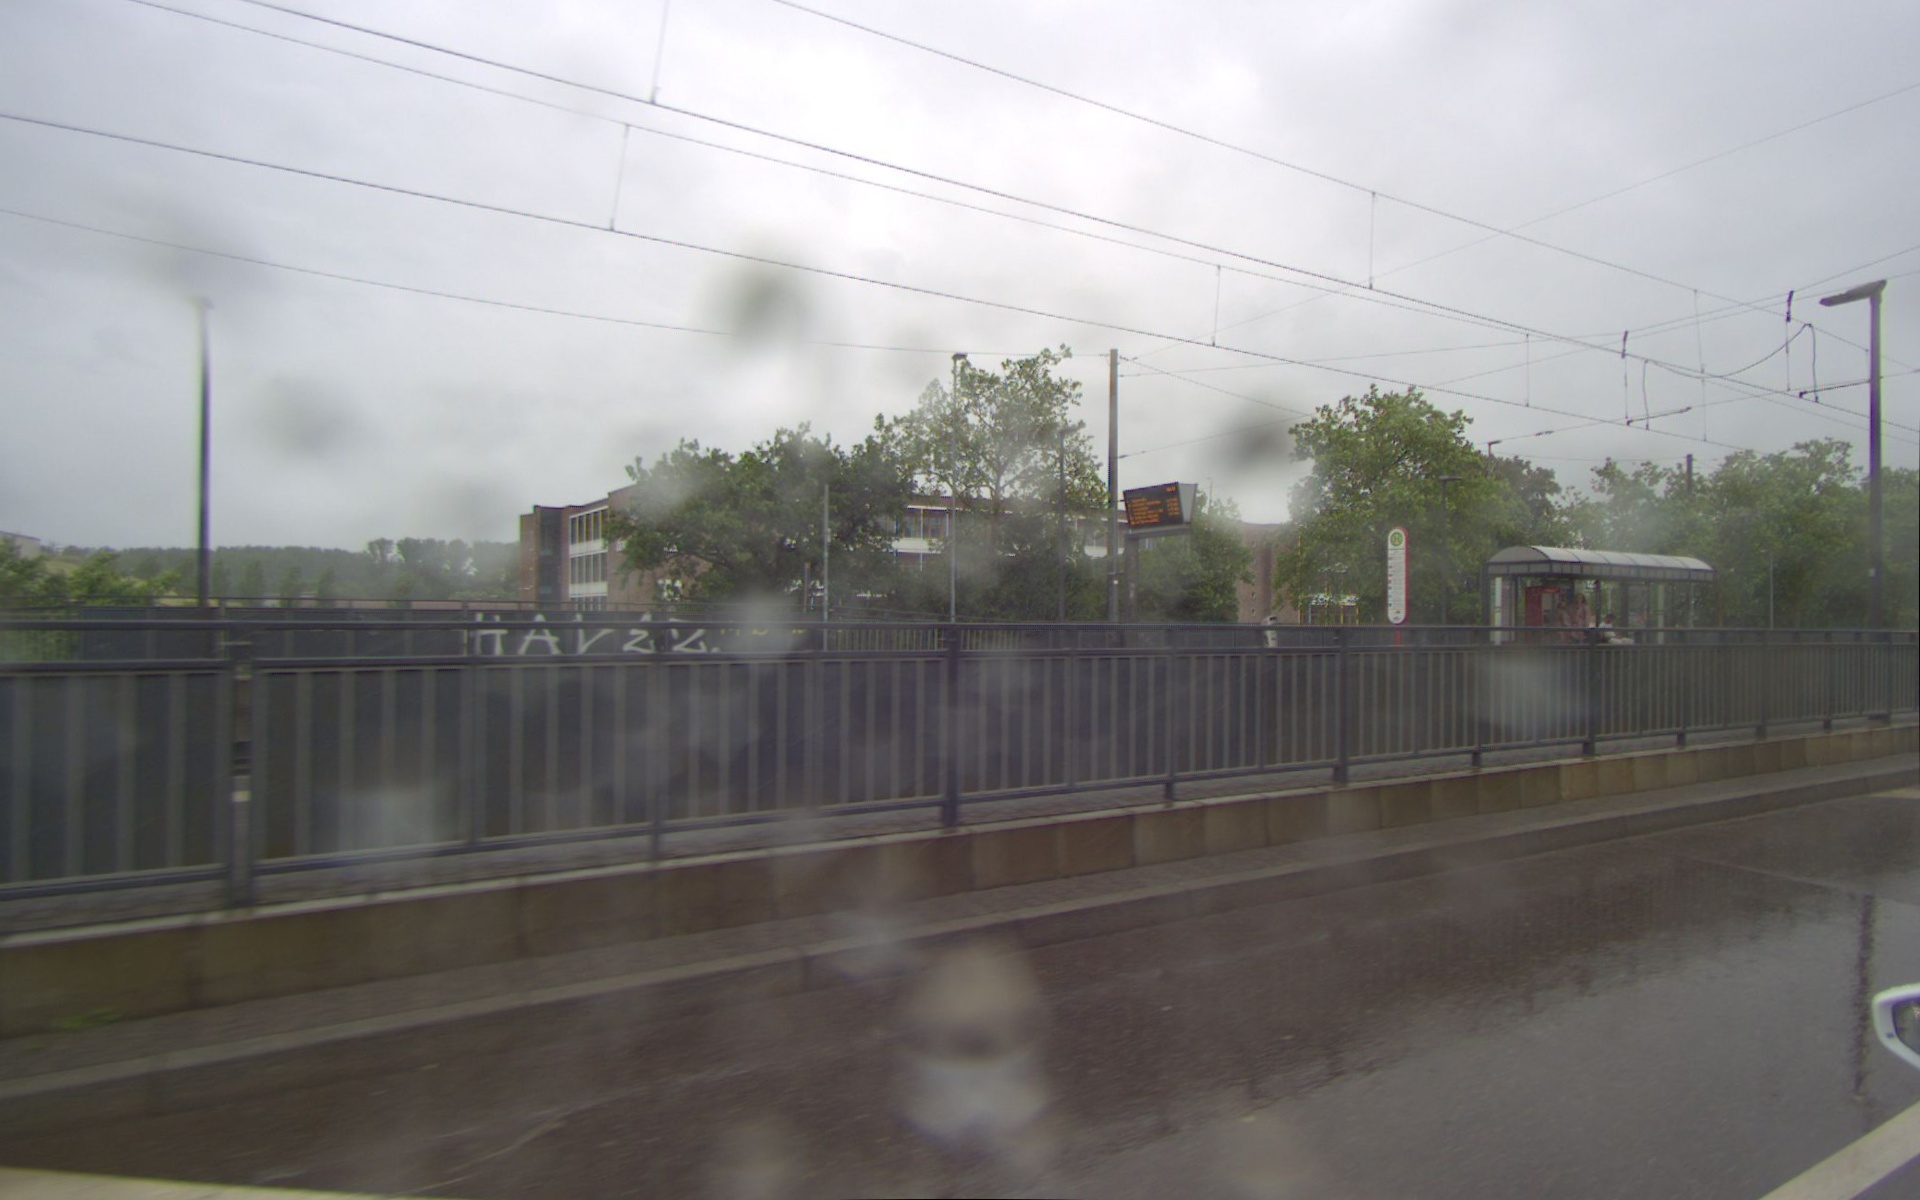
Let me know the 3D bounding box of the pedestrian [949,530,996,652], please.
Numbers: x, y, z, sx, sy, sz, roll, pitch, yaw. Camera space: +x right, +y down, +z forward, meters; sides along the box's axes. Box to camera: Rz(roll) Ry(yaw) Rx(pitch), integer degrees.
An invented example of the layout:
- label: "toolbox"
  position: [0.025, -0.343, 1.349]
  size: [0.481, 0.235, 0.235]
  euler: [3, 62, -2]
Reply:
- label: "pedestrian"
  position: [0.409, -0.295, 34.317]
  size: [1.490, 4.082, 1.172]
  euler: [1, 0, -2]

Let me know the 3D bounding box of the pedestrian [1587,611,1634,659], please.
- label: "pedestrian"
  position: [18.705, 0.994, 28.894]
  size: [0.848, 1.334, 0.827]
  euler: [1, 1, -29]

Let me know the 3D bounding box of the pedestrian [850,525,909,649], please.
- label: "pedestrian"
  position: [-2.704, -0.410, 33.771]
  size: [1.507, 4.082, 1.159]
  euler: [1, 0, -41]
